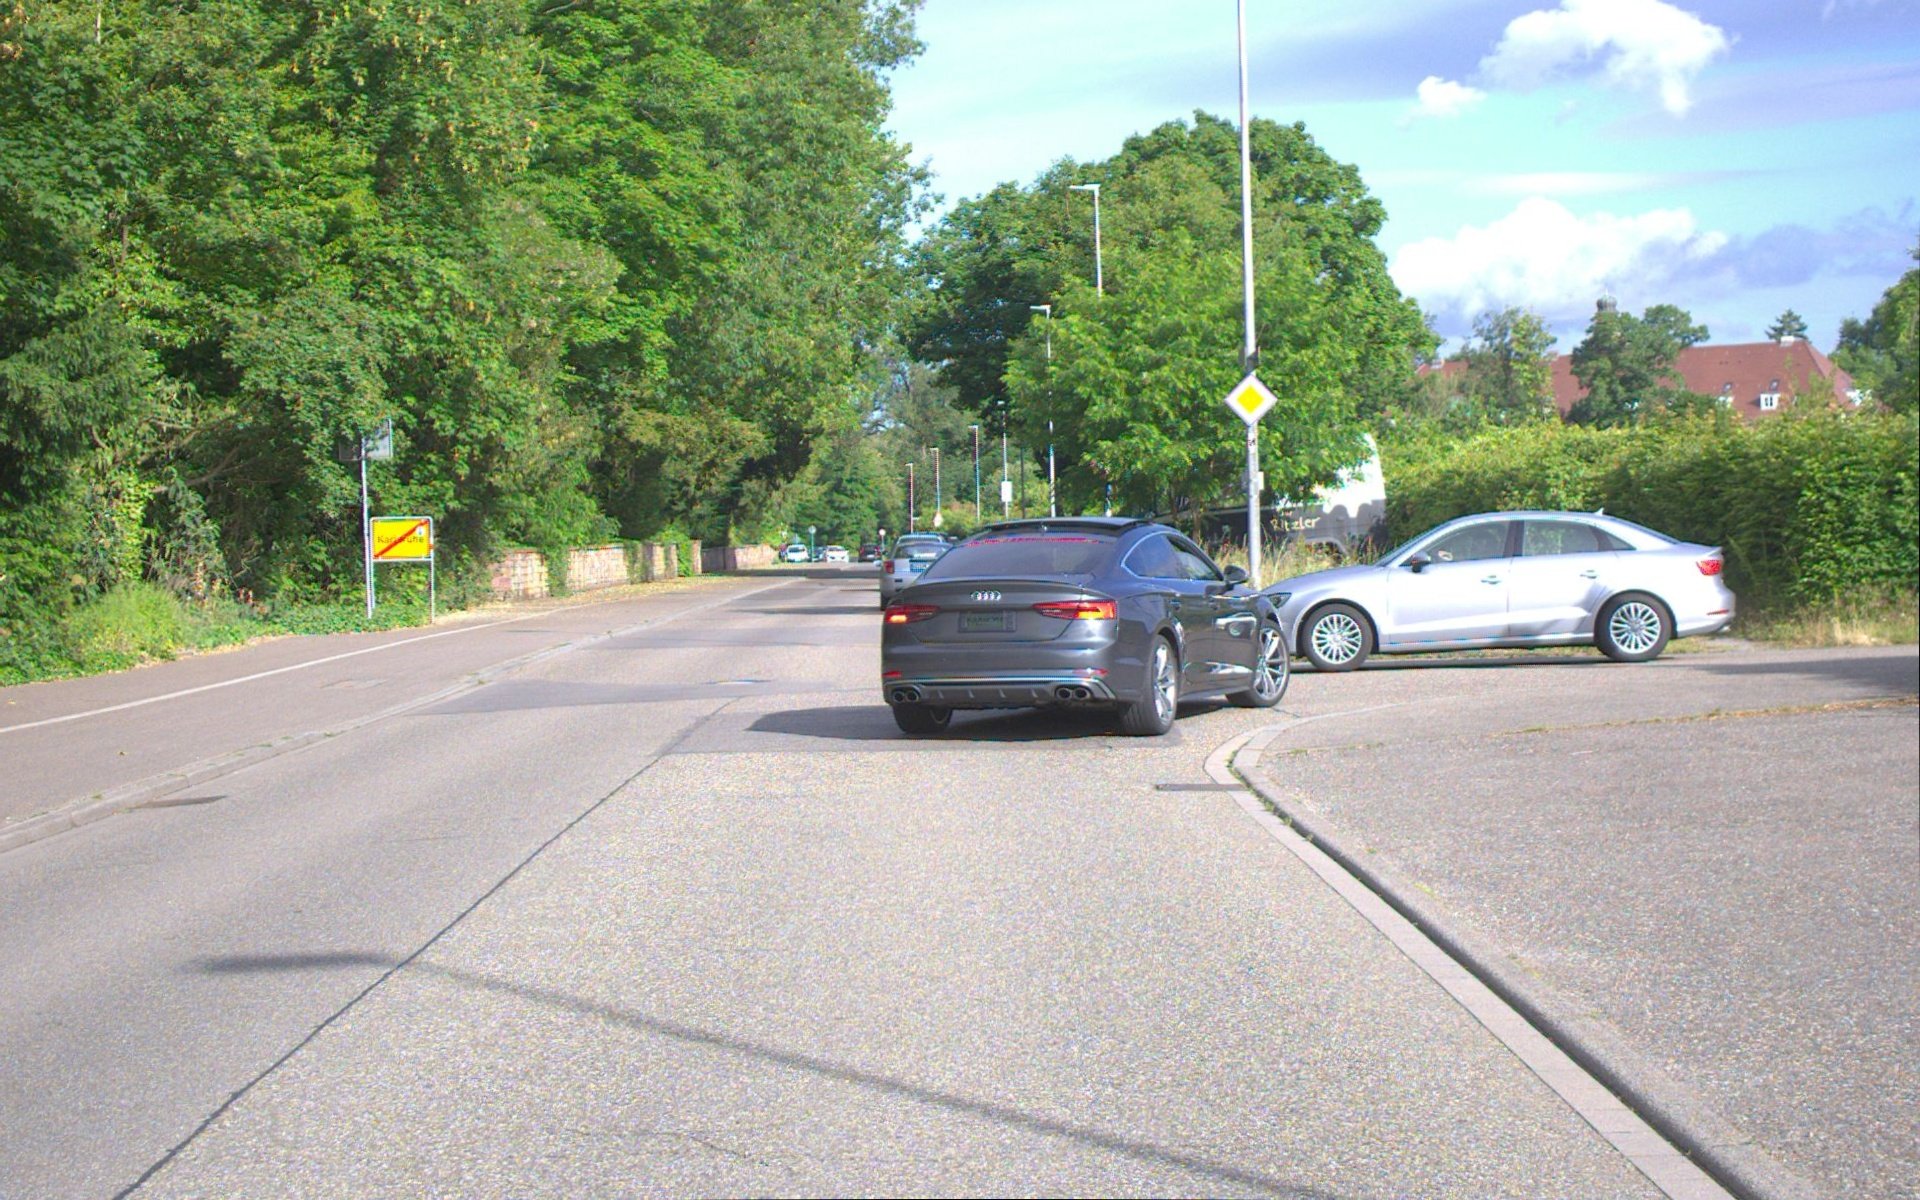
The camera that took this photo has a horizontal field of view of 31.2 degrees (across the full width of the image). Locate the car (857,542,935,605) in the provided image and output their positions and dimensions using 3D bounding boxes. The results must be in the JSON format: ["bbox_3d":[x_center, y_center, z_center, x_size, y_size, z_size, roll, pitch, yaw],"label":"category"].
[{"bbox_3d":[-1.626,-0.684,86.931,1.886,1.460,4.055,-2,1,-1],"label":"car"}]

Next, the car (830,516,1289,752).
[{"bbox_3d":[0.800,0.164,23.595,1.968,1.429,4.332,0,2,18],"label":"car"}]

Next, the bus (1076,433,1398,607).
[{"bbox_3d":[4.892,-1.437,61.205,5.364,2.737,2.069,-3,2,-3],"label":"bus"}]

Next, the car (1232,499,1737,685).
[{"bbox_3d":[4.734,-0.084,31.415,4.363,1.438,1.932,-3,1,6],"label":"car"}]

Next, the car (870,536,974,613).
[{"bbox_3d":[-0.747,-0.511,65.921,1.886,1.367,4.055,-2,1,-1],"label":"car"}]
